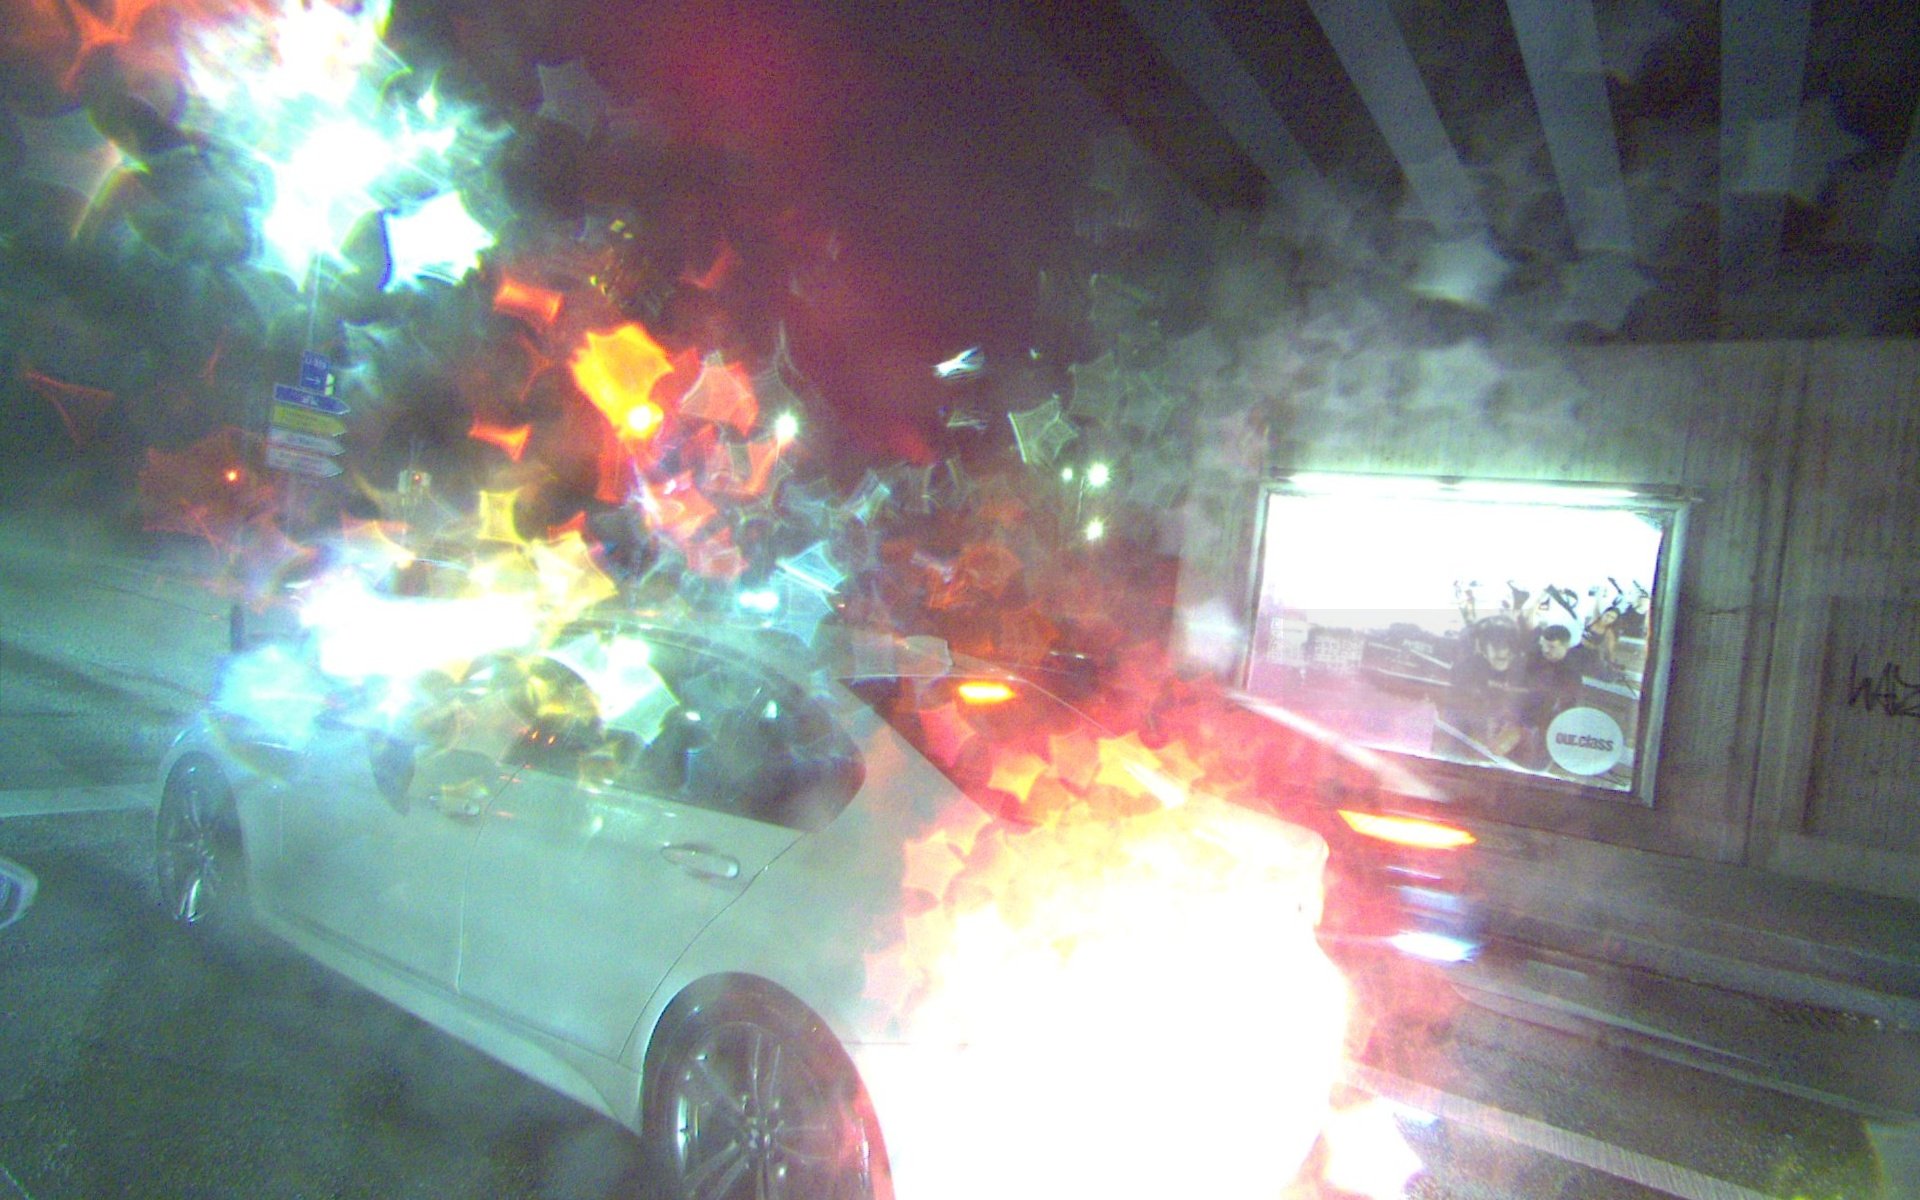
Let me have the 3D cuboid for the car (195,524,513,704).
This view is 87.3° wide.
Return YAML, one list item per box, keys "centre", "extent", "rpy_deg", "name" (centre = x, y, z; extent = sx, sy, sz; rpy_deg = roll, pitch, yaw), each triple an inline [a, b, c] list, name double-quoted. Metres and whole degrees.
- centre: [-6.609, 0.108, 10.860]
  extent: [3.540, 1.475, 1.634]
  rpy_deg: [6, -2, 38]
  name: "car"

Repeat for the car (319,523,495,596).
- centre: [-16.282, -1.159, 29.775]
  extent: [1.884, 1.606, 4.068]
  rpy_deg: [4, -2, 37]
  name: "car"

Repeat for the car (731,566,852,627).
- centre: [-7.131, -0.096, 43.138]
  extent: [1.968, 2.008, 5.096]
  rpy_deg: [7, -1, 35]
  name: "car"

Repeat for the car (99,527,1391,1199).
- centre: [-0.994, 0.704, 3.499]
  extent: [4.277, 1.420, 1.720]
  rpy_deg: [6, -2, 32]
  name: "car"

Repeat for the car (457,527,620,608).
- centre: [-15.217, -1.114, 36.576]
  extent: [2.109, 2.169, 4.915]
  rpy_deg: [6, -2, 37]
  name: "car"

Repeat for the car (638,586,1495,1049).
- centre: [0.494, 0.952, 5.911]
  extent: [4.486, 1.406, 1.757]
  rpy_deg: [8, -1, 27]
  name: "car"
